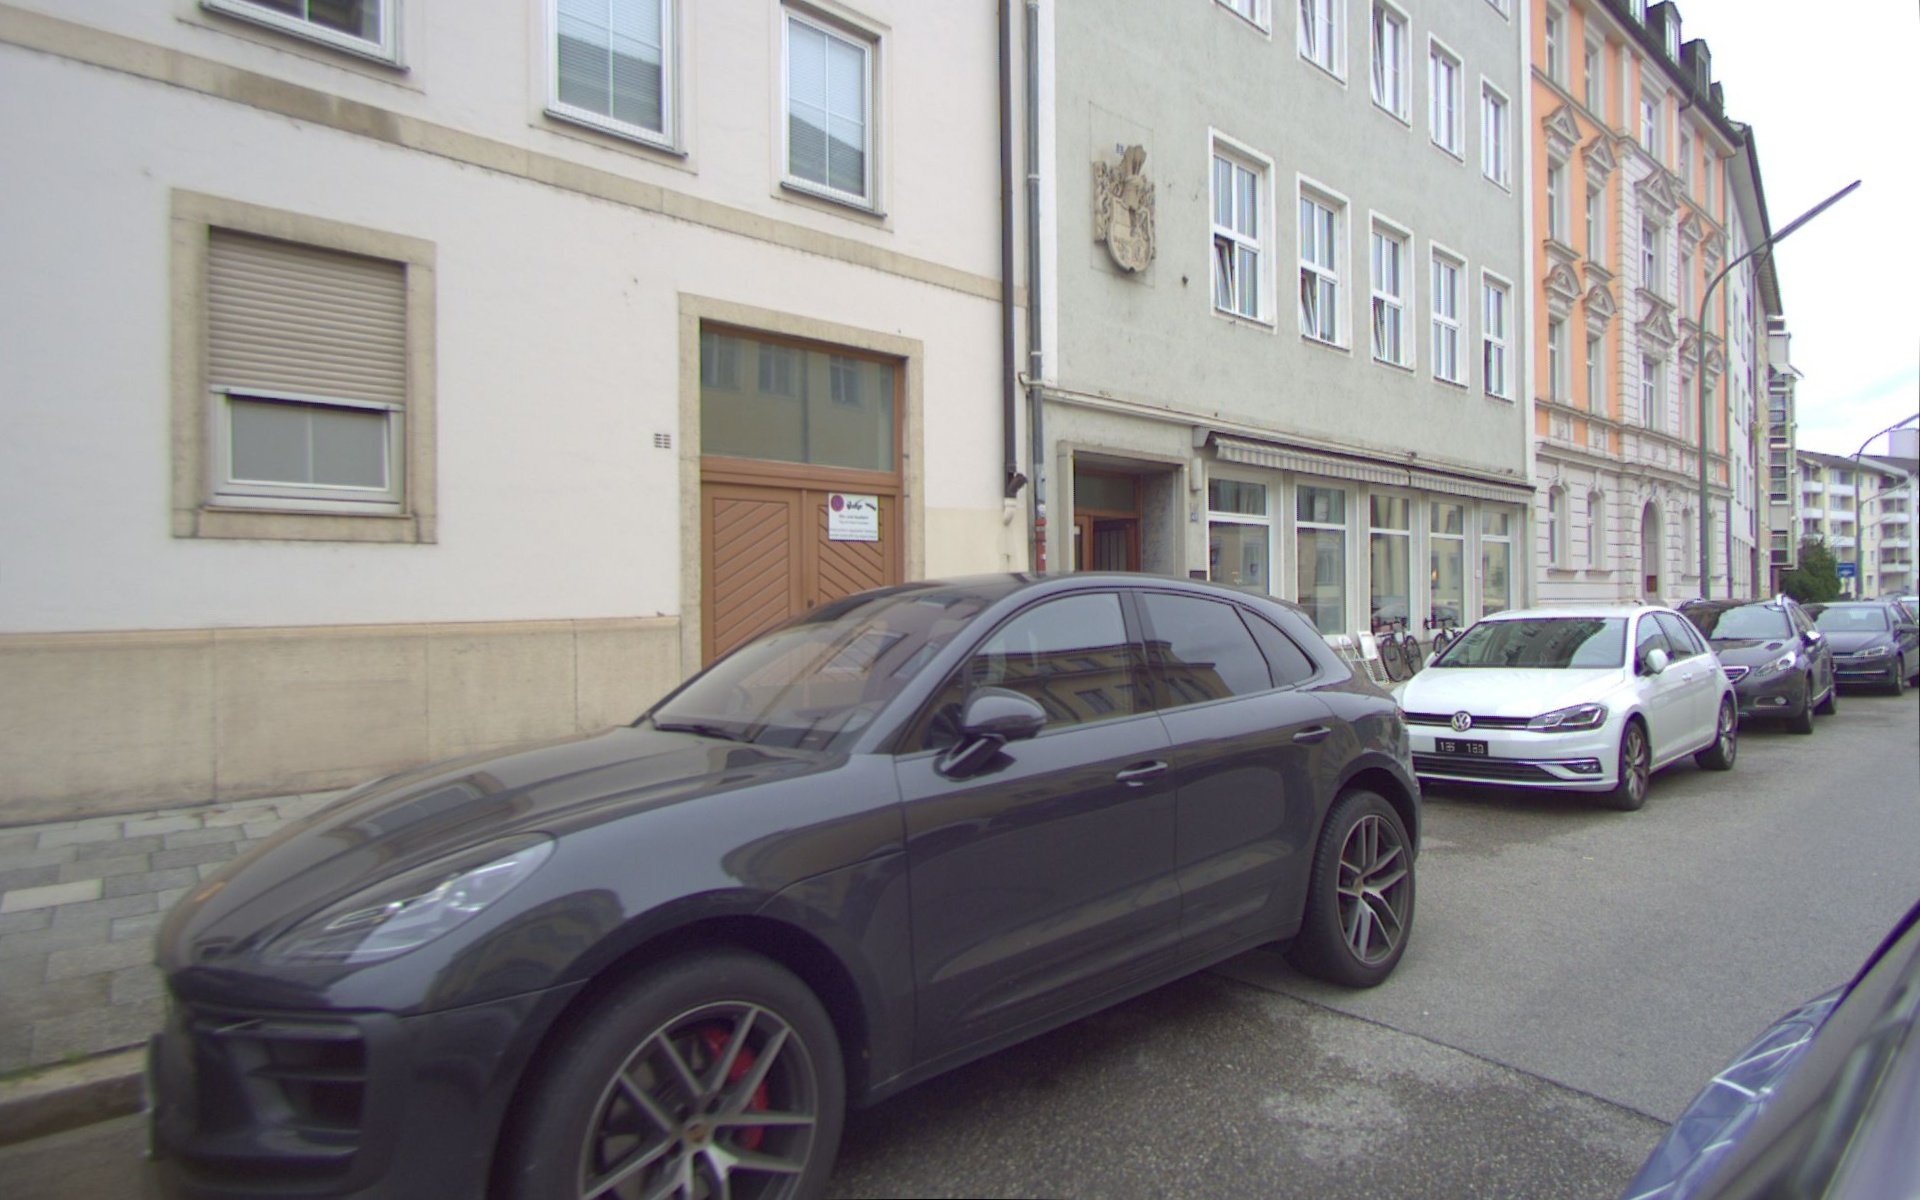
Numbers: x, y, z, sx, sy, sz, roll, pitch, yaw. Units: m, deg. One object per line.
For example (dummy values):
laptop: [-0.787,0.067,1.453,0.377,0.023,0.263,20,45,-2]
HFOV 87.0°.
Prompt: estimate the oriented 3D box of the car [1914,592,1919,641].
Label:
car: [30.425,0.502,30.770,3.879,1.445,1.672,-1,1,-41]

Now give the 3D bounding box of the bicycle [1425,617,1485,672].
bicycle: [8.337,0.734,17.029,1.448,0.851,0.368,-1,0,-41]

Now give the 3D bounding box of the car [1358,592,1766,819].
car: [5.208,0.686,8.530,4.108,1.448,1.743,-1,-1,-41]

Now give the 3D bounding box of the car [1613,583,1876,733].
car: [9.781,0.631,12.515,3.930,1.560,1.766,-1,-3,-41]

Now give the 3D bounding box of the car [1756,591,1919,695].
car: [14.679,0.633,16.564,4.118,1.485,1.723,-1,-2,-40]

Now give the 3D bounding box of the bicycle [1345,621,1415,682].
bicycle: [6.358,0.762,15.292,1.448,0.851,0.368,-1,0,-41]

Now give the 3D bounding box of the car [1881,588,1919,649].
car: [26.695,0.446,27.428,4.413,1.593,1.999,-1,-2,-41]

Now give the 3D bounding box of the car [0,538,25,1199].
car: [-3.639,0.679,0.615,4.412,1.602,1.830,-1,-1,-40]

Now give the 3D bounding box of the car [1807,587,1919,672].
car: [19.339,0.564,20.931,4.411,1.593,1.999,-1,-2,-40]

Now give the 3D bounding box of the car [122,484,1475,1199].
car: [-0.103,0.632,3.598,4.411,1.602,1.830,-1,-1,-40]
